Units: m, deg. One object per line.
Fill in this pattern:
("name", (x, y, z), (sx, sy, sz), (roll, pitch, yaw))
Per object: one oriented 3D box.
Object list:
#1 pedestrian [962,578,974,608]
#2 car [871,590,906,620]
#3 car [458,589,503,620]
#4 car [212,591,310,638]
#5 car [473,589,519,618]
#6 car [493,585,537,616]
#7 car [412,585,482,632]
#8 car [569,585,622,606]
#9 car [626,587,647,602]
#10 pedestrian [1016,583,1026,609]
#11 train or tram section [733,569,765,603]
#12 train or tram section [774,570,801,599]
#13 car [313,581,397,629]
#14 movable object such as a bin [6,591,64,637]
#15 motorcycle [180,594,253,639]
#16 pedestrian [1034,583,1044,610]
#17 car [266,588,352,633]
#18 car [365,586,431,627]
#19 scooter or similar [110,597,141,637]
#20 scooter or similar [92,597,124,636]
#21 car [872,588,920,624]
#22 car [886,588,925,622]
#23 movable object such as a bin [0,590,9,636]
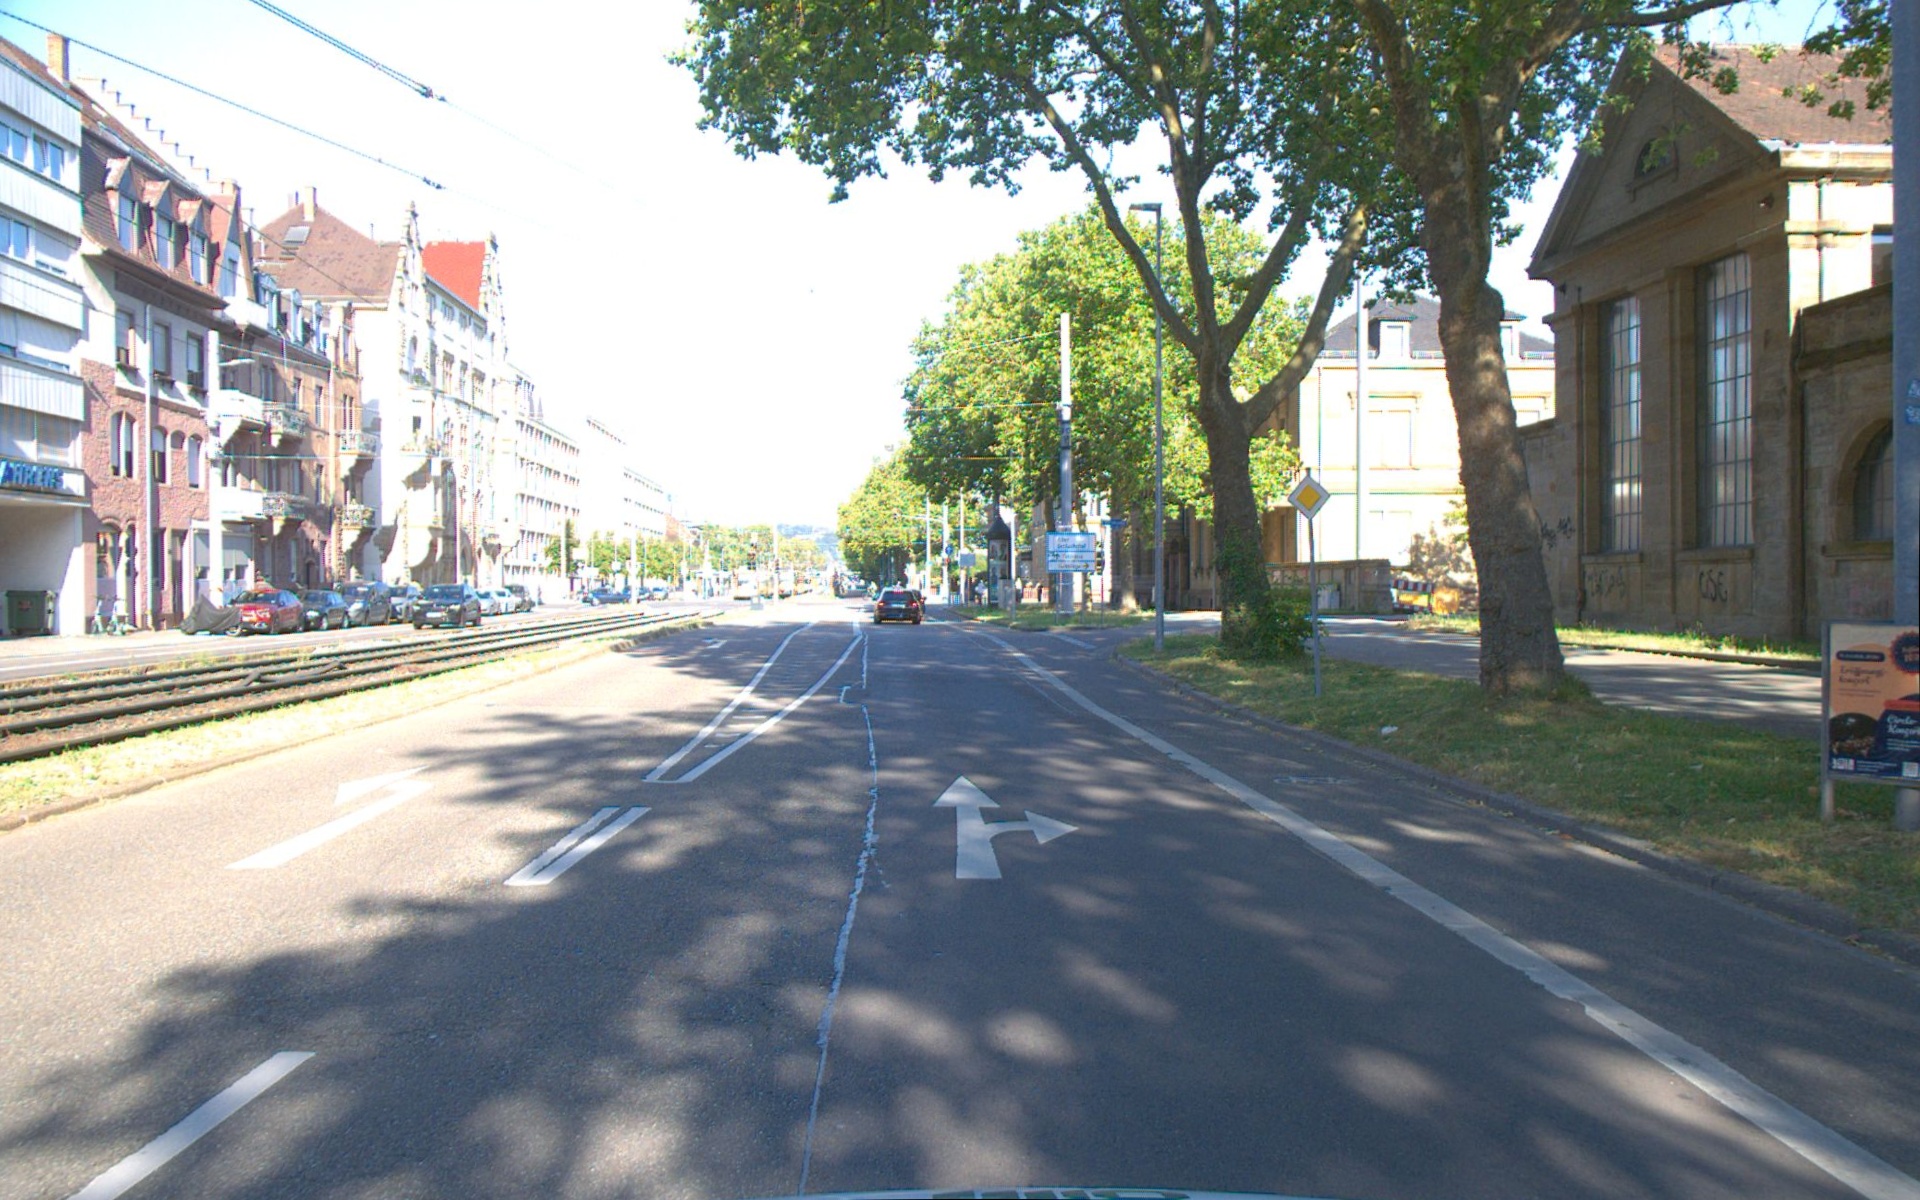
("pedestrian", (0.467, -0.396, 97.920), (0.575, 1.758, 0.650), (1, 0, 9))
("car", (-3.781, 0.238, 86.608), (1.758, 1.537, 3.997), (-1, 0, -3))
("car", (-26.113, 0.226, 90.150), (1.761, 1.536, 3.993), (3, 0, -8))
("car", (-23.894, 0.469, 56.687), (1.759, 1.485, 4.262), (3, 0, -5))
("car", (-26.786, 0.178, 95.597), (1.759, 1.536, 4.181), (3, 0, -5))
("car", (-27.183, 0.013, 101.149), (1.759, 1.749, 4.181), (3, 0, -5))
("car", (-18.839, 0.274, 60.875), (1.603, 1.629, 4.154), (-2, 1, -6))
("car", (-28.298, -0.322, 128.537), (3.917, 1.537, 1.794), (2, -1, -13))
("car", (-32.696, -0.559, 167.342), (1.760, 1.536, 3.995), (-1, 0, -6))
("pedestrian", (4.133, -0.274, 112.198), (0.575, 1.758, 0.650), (1, 0, 9))
("train or tram section", (-22.676, -1.526, 178.120), (2.769, 3.511, 9.057), (-1, 0, -3))
("train or tram section", (-21.816, -1.974, 209.631), (2.769, 3.511, 9.059), (-1, 0, -3))
("car", (-24.346, 0.184, 66.715), (1.758, 1.784, 4.454), (3, 0, -1))
("movable object such as a bin", (-28.300, 0.421, 50.623), (1.386, 1.395, 0.634), (0, 0, -11))
("motorcycle", (-23.963, 0.524, 53.357), (2.037, 1.350, 0.836), (3, 0, -20))
("pedestrian", (5.379, -0.240, 112.195), (0.575, 1.758, 0.651), (1, 0, 11))
("car", (-24.109, 0.367, 61.345), (1.759, 1.536, 3.997), (3, 0, -4))
("car", (-24.716, 0.255, 72.853), (1.653, 1.681, 4.196), (3, 0, -4))
("scooter or similar", (-26.390, 0.538, 52.306), (0.383, 1.226, 1.199), (2, 0, -3))
("scooter or similar", (-26.946, 0.519, 52.340), (0.383, 1.226, 1.199), (2, 0, -3))
("car", (-2.655, 0.228, 67.911), (1.797, 1.415, 4.155), (0, 0, -4))
("car", (-2.589, 0.221, 78.169), (1.758, 1.537, 3.997), (-1, 0, -3))
("movable object such as a bin", (-29.719, 0.388, 50.368), (1.171, 1.395, 0.634), (0, 0, -10))
